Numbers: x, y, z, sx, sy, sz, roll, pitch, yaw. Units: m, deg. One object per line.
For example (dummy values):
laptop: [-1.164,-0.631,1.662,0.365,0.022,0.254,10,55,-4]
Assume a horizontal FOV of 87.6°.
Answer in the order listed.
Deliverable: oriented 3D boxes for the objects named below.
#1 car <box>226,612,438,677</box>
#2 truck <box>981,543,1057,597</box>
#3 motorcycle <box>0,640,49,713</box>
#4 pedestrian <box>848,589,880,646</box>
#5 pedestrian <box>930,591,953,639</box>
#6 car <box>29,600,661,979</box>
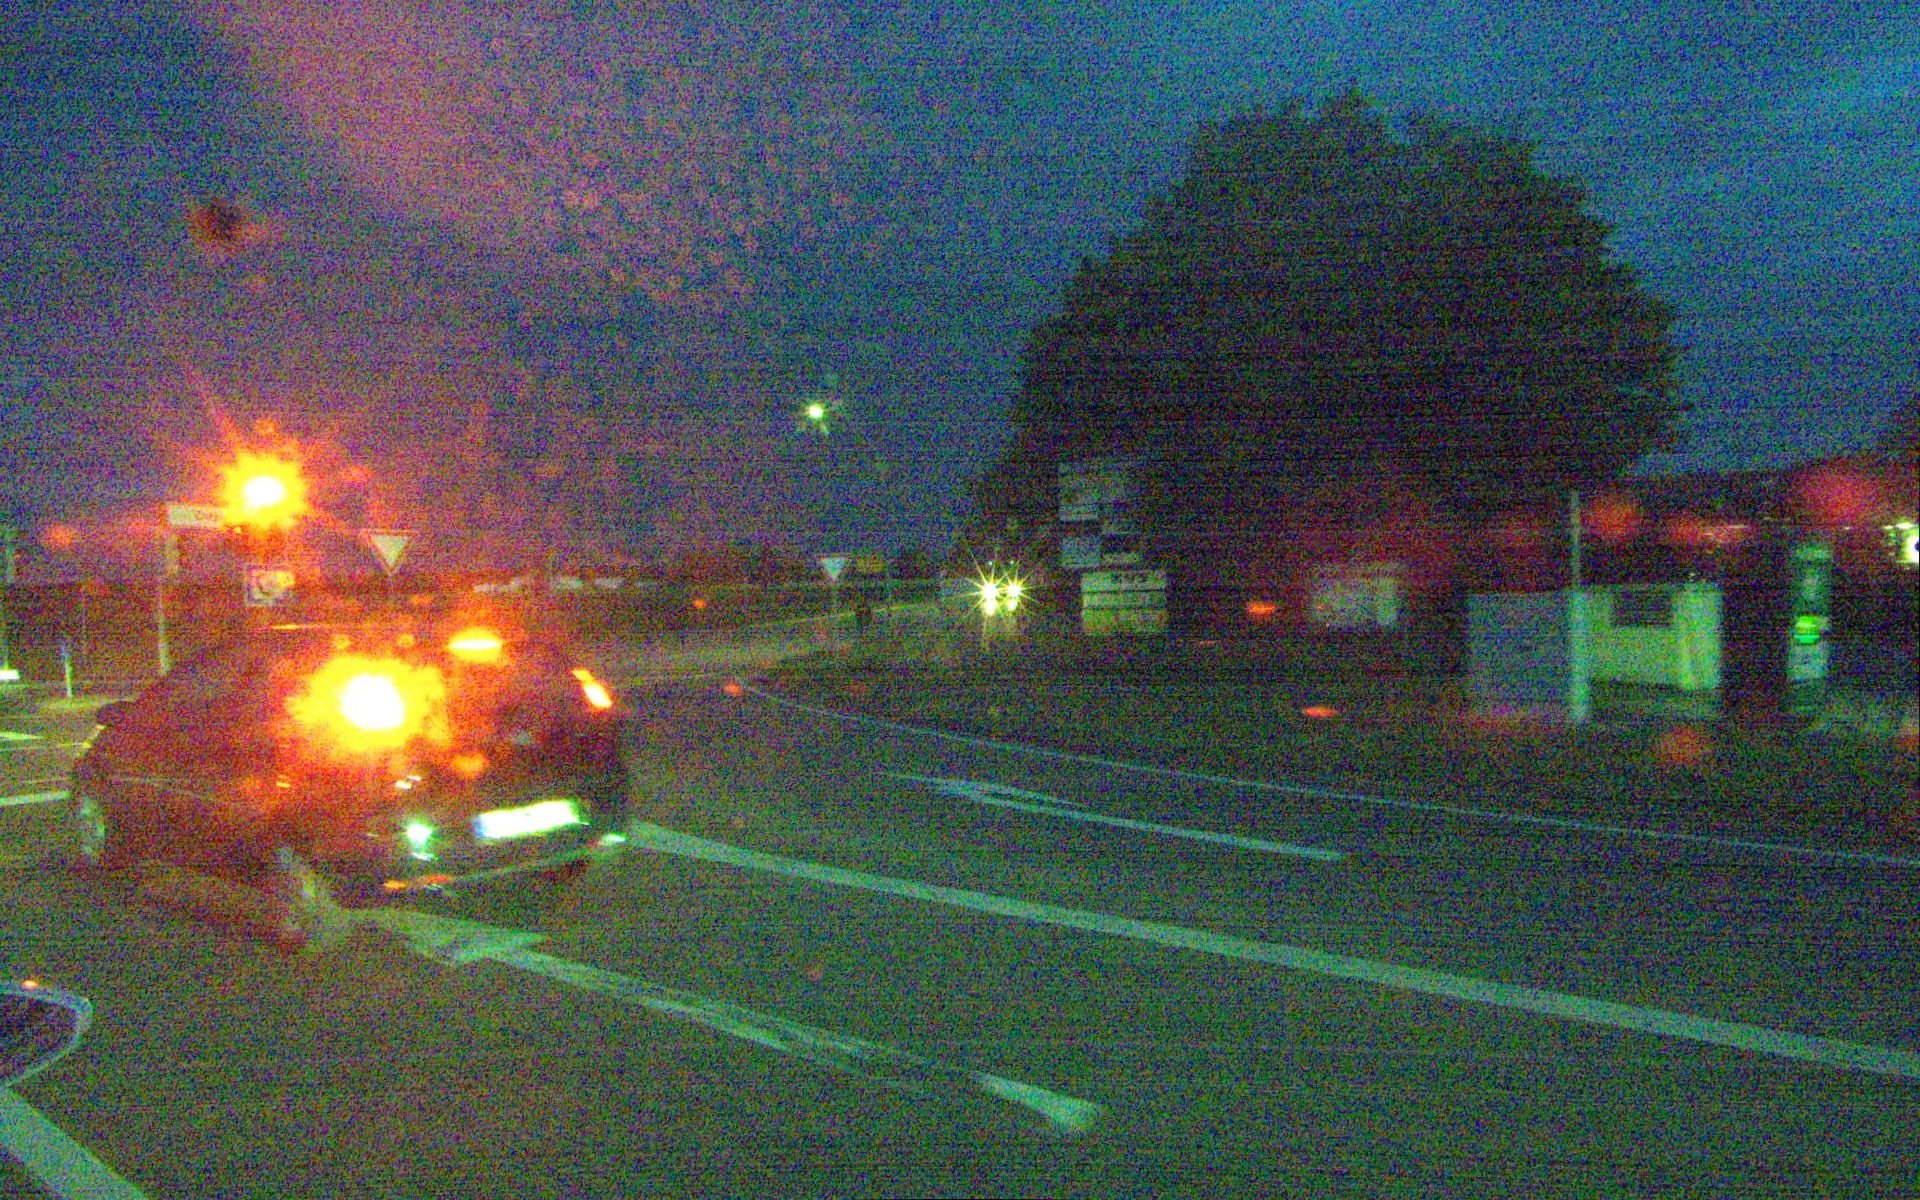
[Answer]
car: [-17.304,1.162,27.827,1.972,1.541,4.589,-1,1,33]
truck: [4.866,-2.316,79.982,2.876,4.033,10.042,-1,1,23]
motorcycle: [-16.233,1.243,15.861,2.471,1.113,0.977,-1,1,-29]
pedestrian: [-3.264,0.585,34.225,0.861,1.859,0.731,-3,1,6]
pedestrian: [-0.747,0.602,40.780,0.860,1.925,0.660,-1,1,6]
car: [-3.764,0.813,5.905,4.049,1.540,1.666,-1,-1,34]
